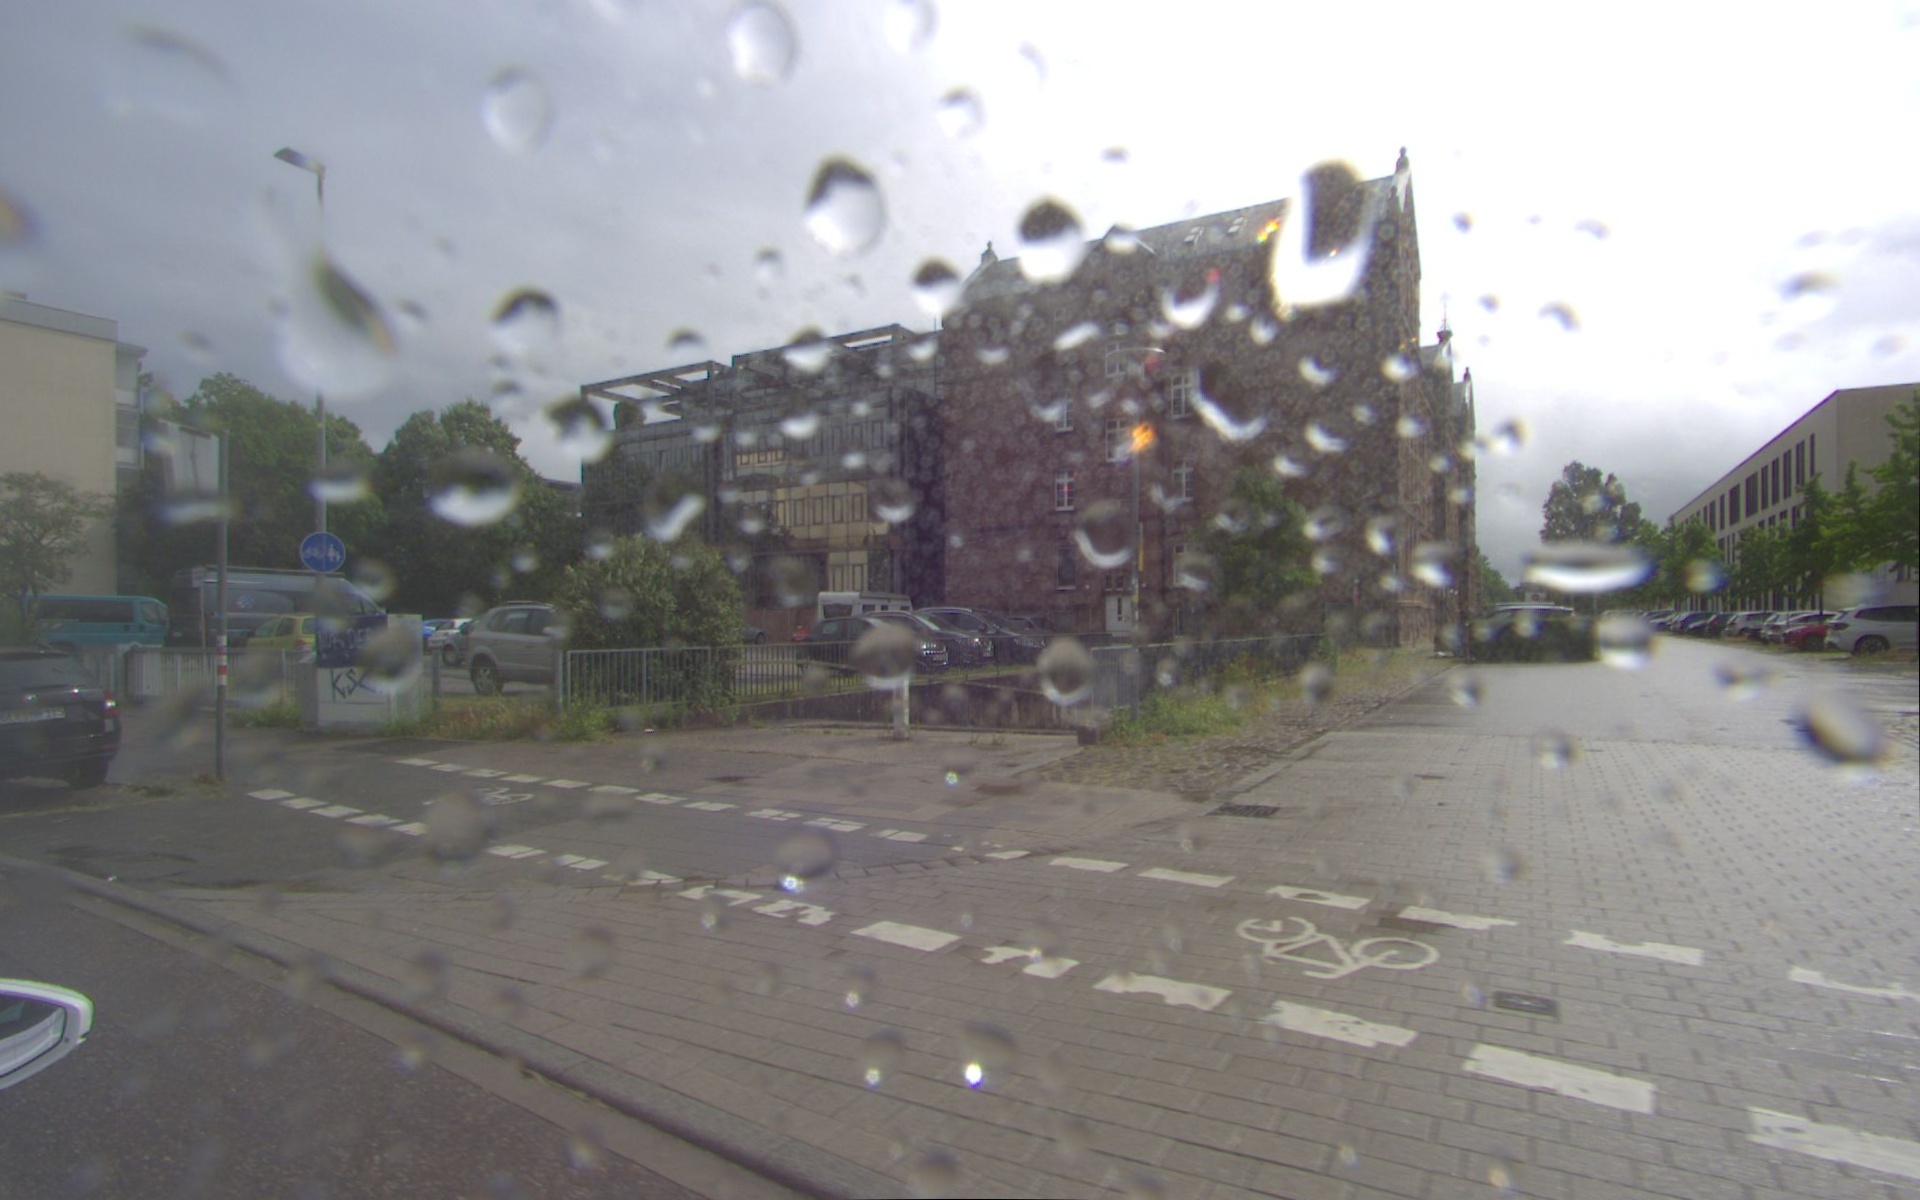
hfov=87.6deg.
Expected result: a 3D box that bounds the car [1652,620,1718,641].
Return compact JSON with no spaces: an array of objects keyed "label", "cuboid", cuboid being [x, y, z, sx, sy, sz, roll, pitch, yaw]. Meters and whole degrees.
[{"label":"car","cuboid":[55.730,2.397,77.074,3.944,1.480,1.779,-2,-4,32]}]

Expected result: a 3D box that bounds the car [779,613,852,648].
[{"label":"car","cuboid":[-6.702,1.460,46.681,1.660,1.537,3.498,-2,-4,27]}]

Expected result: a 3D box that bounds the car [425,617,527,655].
[{"label":"car","cuboid":[-20.603,1.494,42.742,1.616,1.506,3.658,-1,-1,33]}]

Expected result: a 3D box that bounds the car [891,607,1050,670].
[{"label":"car","cuboid":[0.282,1.101,29.389,4.360,1.701,1.850,-1,-1,32]}]

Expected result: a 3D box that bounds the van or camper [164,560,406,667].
[{"label":"van or camper","cuboid":[-17.943,0.423,26.894,2.143,2.587,4.992,-2,-2,31]}]

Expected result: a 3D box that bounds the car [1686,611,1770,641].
[{"label":"car","cuboid":[41.920,1.449,54.741,3.432,1.488,1.679,-2,-4,32]}]

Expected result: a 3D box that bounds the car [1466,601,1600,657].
[{"label":"car","cuboid":[19.038,1.013,33.329,3.753,1.712,1.752,-2,-4,32]}]

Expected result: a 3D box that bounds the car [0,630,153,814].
[{"label":"car","cuboid":[-10.221,1.130,10.018,4.311,1.560,1.772,-1,1,28]}]

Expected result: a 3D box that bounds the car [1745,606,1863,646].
[{"label":"car","cuboid":[37.391,1.170,44.509,3.720,1.638,1.731,-2,-4,31]}]

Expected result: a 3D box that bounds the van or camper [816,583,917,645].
[{"label":"van or camper","cuboid":[-4.132,0.723,44.889,2.224,2.517,4.784,-2,-4,29]}]

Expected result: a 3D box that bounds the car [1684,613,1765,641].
[{"label":"car","cuboid":[43.337,1.571,56.852,3.432,1.488,1.679,-2,-4,32]}]

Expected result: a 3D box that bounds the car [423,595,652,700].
[{"label":"car","cuboid":[-7.946,0.854,18.744,4.175,1.773,1.801,-1,0,30]}]

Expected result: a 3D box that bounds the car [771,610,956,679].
[{"label":"car","cuboid":[-2.393,1.049,24.398,4.363,1.547,1.824,-1,-1,35]}]

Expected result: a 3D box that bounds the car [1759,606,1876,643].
[{"label":"car","cuboid":[36.455,1.036,42.662,3.522,1.496,1.700,-1,0,31]}]

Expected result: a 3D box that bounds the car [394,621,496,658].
[{"label":"car","cuboid":[-22.532,1.703,43.907,1.616,1.506,3.658,-1,-1,33]}]

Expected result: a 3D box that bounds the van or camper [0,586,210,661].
[{"label":"van or camper","cuboid":[-26.951,0.734,31.631,2.289,2.159,4.749,0,-1,33]}]

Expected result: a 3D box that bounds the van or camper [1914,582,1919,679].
[{"label":"van or camper","cuboid":[23.128,0.626,20.357,5.109,2.144,1.786,-1,-1,31]}]

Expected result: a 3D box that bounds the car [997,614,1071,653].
[{"label":"car","cuboid":[3.147,1.370,42.245,1.648,1.544,3.660,-1,-1,31]}]

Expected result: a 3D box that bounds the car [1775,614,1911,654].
[{"label":"car","cuboid":[32.549,1.242,37.041,3.522,1.396,1.700,-1,0,31]}]

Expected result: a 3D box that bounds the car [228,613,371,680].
[{"label":"car","cuboid":[-15.688,1.067,23.746,3.368,1.468,1.607,-1,-1,33]}]

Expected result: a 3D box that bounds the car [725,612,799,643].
[{"label":"car","cuboid":[-9.955,1.382,50.568,1.648,1.505,3.661,-1,-1,31]}]

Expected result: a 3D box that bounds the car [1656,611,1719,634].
[{"label":"car","cuboid":[51.435,1.622,70.905,3.432,1.488,1.679,-2,-4,32]}]

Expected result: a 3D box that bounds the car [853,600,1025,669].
[{"label":"car","cuboid":[-0.597,0.903,26.741,4.365,1.701,1.847,-1,-1,36]}]

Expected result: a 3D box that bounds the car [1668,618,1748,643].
[{"label":"car","cuboid":[48.101,1.970,64.499,3.944,1.480,1.779,-2,-4,32]}]

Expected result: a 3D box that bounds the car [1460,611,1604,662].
[{"label":"car","cuboid":[17.669,1.177,31.025,3.753,1.471,1.752,-2,-4,32]}]

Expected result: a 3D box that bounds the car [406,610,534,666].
[{"label":"car","cuboid":[-14.009,1.068,28.595,3.666,1.505,1.645,-1,-1,33]}]

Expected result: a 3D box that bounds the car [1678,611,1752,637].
[{"label":"car","cuboid":[46.417,1.516,61.607,3.432,1.488,1.679,-2,-4,32]}]
